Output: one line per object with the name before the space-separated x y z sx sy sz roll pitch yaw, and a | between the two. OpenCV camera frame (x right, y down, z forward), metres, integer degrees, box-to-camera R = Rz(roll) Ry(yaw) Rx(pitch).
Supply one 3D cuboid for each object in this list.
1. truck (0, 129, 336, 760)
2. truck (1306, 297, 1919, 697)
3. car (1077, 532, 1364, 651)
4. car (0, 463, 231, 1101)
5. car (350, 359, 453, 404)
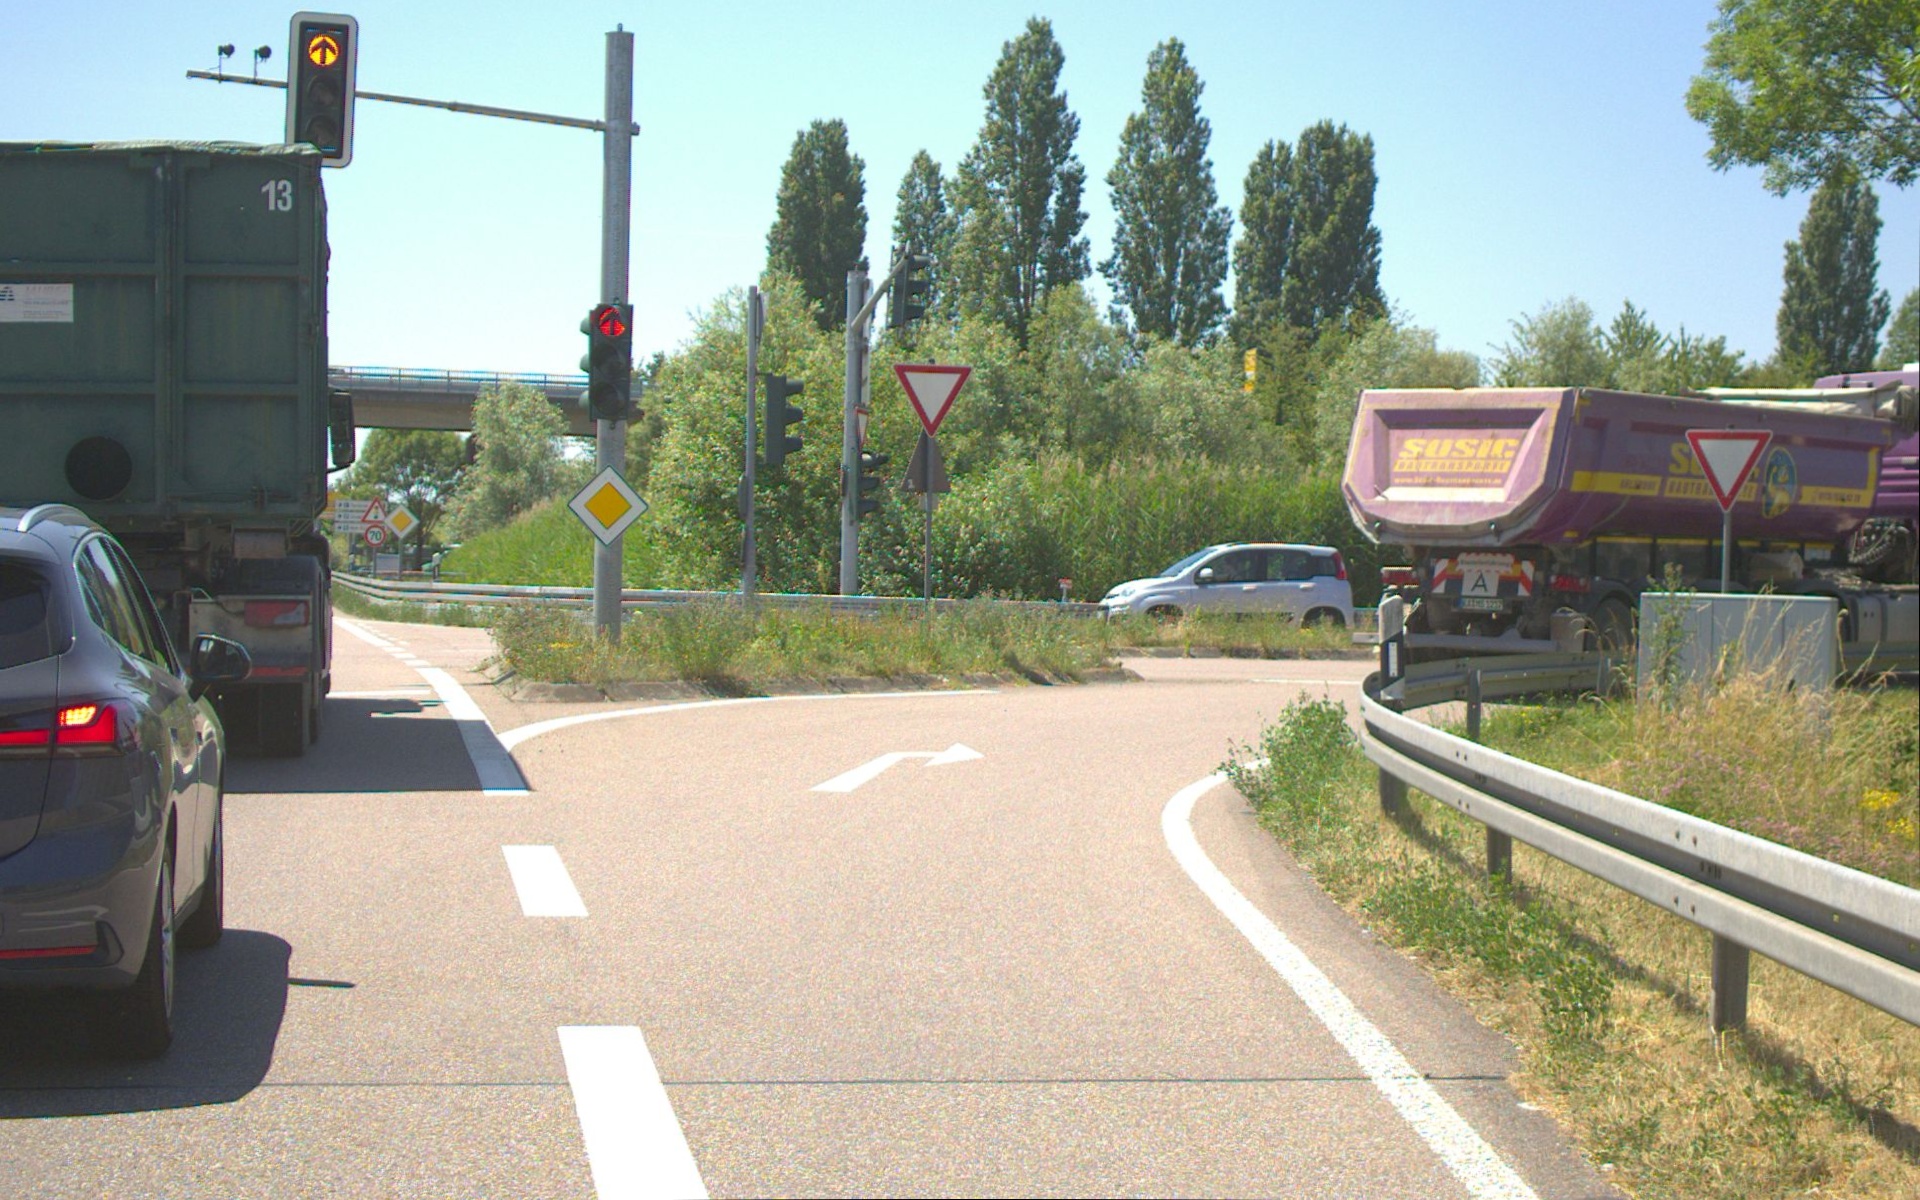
truck | -5.943 -1.026 25.111 2.589 3.724 9.578 0 1 -10
truck | 8.547 -1.032 38.147 2.840 3.808 11.855 1 1 42
car | 3.665 -0.128 48.647 3.705 1.626 1.735 0 1 -10
car | -3.311 0.423 10.707 1.844 1.617 4.227 0 1 -10
car | -27.469 -10.746 169.122 4.959 2.007 2.001 0 1 -10
